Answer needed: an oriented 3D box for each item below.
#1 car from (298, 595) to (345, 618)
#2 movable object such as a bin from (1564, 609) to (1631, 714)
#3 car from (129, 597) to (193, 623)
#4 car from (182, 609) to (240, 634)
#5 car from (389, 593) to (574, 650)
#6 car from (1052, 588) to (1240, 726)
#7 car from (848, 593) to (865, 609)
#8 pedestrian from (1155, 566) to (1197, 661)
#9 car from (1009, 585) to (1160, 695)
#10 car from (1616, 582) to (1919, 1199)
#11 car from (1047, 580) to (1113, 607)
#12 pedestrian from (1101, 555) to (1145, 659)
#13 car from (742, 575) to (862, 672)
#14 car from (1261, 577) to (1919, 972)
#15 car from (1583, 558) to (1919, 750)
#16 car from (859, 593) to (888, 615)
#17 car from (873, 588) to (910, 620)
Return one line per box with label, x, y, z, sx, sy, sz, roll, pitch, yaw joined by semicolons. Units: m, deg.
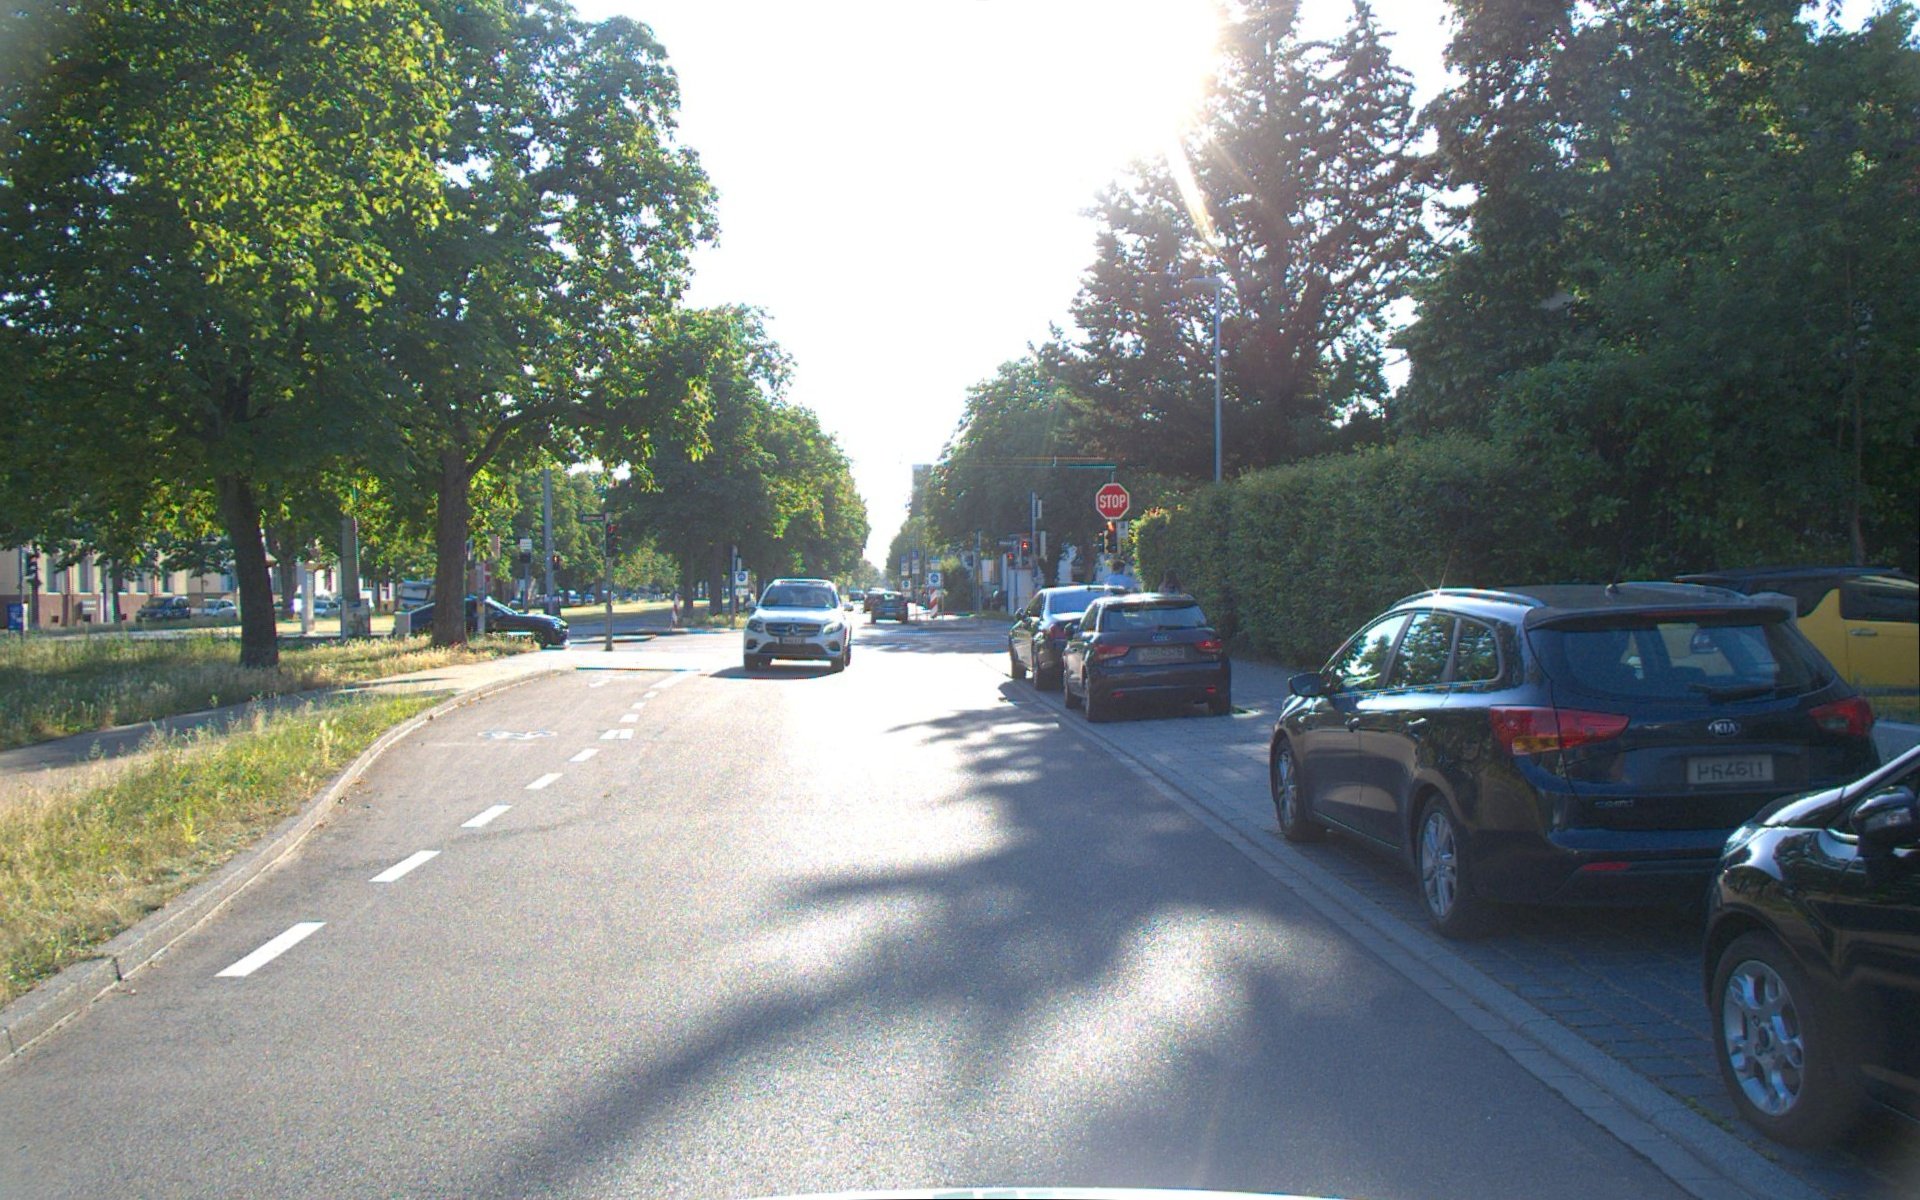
car;-41.572;0.407;107.800;1.703;1.452;3.791;0;1;-2
movable object such as a bin;6.532;0.622;16.957;0.498;1.061;0.416;0;0;-9
car;-47.071;0.571;97.511;1.701;1.422;3.794;0;2;3
car;-47.012;1.336;103.851;1.701;1.452;3.794;0;2;3
car;-12.769;0.556;44.454;4.684;1.459;1.808;0;0;-14
car;2.166;0.609;20.190;1.608;1.452;3.934;-2;0;-3
car;-13.961;0.121;223.325;2.091;2.049;3.900;0;0;-2
pedestrian;4.005;0.254;30.680;0.656;1.738;0.622;0;0;-6
car;1.874;0.560;26.308;1.822;1.569;4.871;-1;0;-3
car;3.137;0.712;3.475;1.684;1.497;3.981;-3;1;-4
car;7.133;-0.372;98.440;3.704;1.552;1.743;0;2;-3
pedestrian;3.025;0.129;30.749;0.657;1.898;0.880;0;0;-6
car;-2.933;0.402;31.500;1.852;1.706;4.425;0;1;0
car;2.899;0.664;8.460;1.711;1.500;4.252;0;0;-4
car;7.732;0.424;14.855;3.561;1.522;1.780;-2;0;-3
car;-5.763;0.256;110.645;1.808;1.418;3.827;0;1;-2
car;-3.173;0.173;76.757;1.607;1.476;3.307;0;0;-1
